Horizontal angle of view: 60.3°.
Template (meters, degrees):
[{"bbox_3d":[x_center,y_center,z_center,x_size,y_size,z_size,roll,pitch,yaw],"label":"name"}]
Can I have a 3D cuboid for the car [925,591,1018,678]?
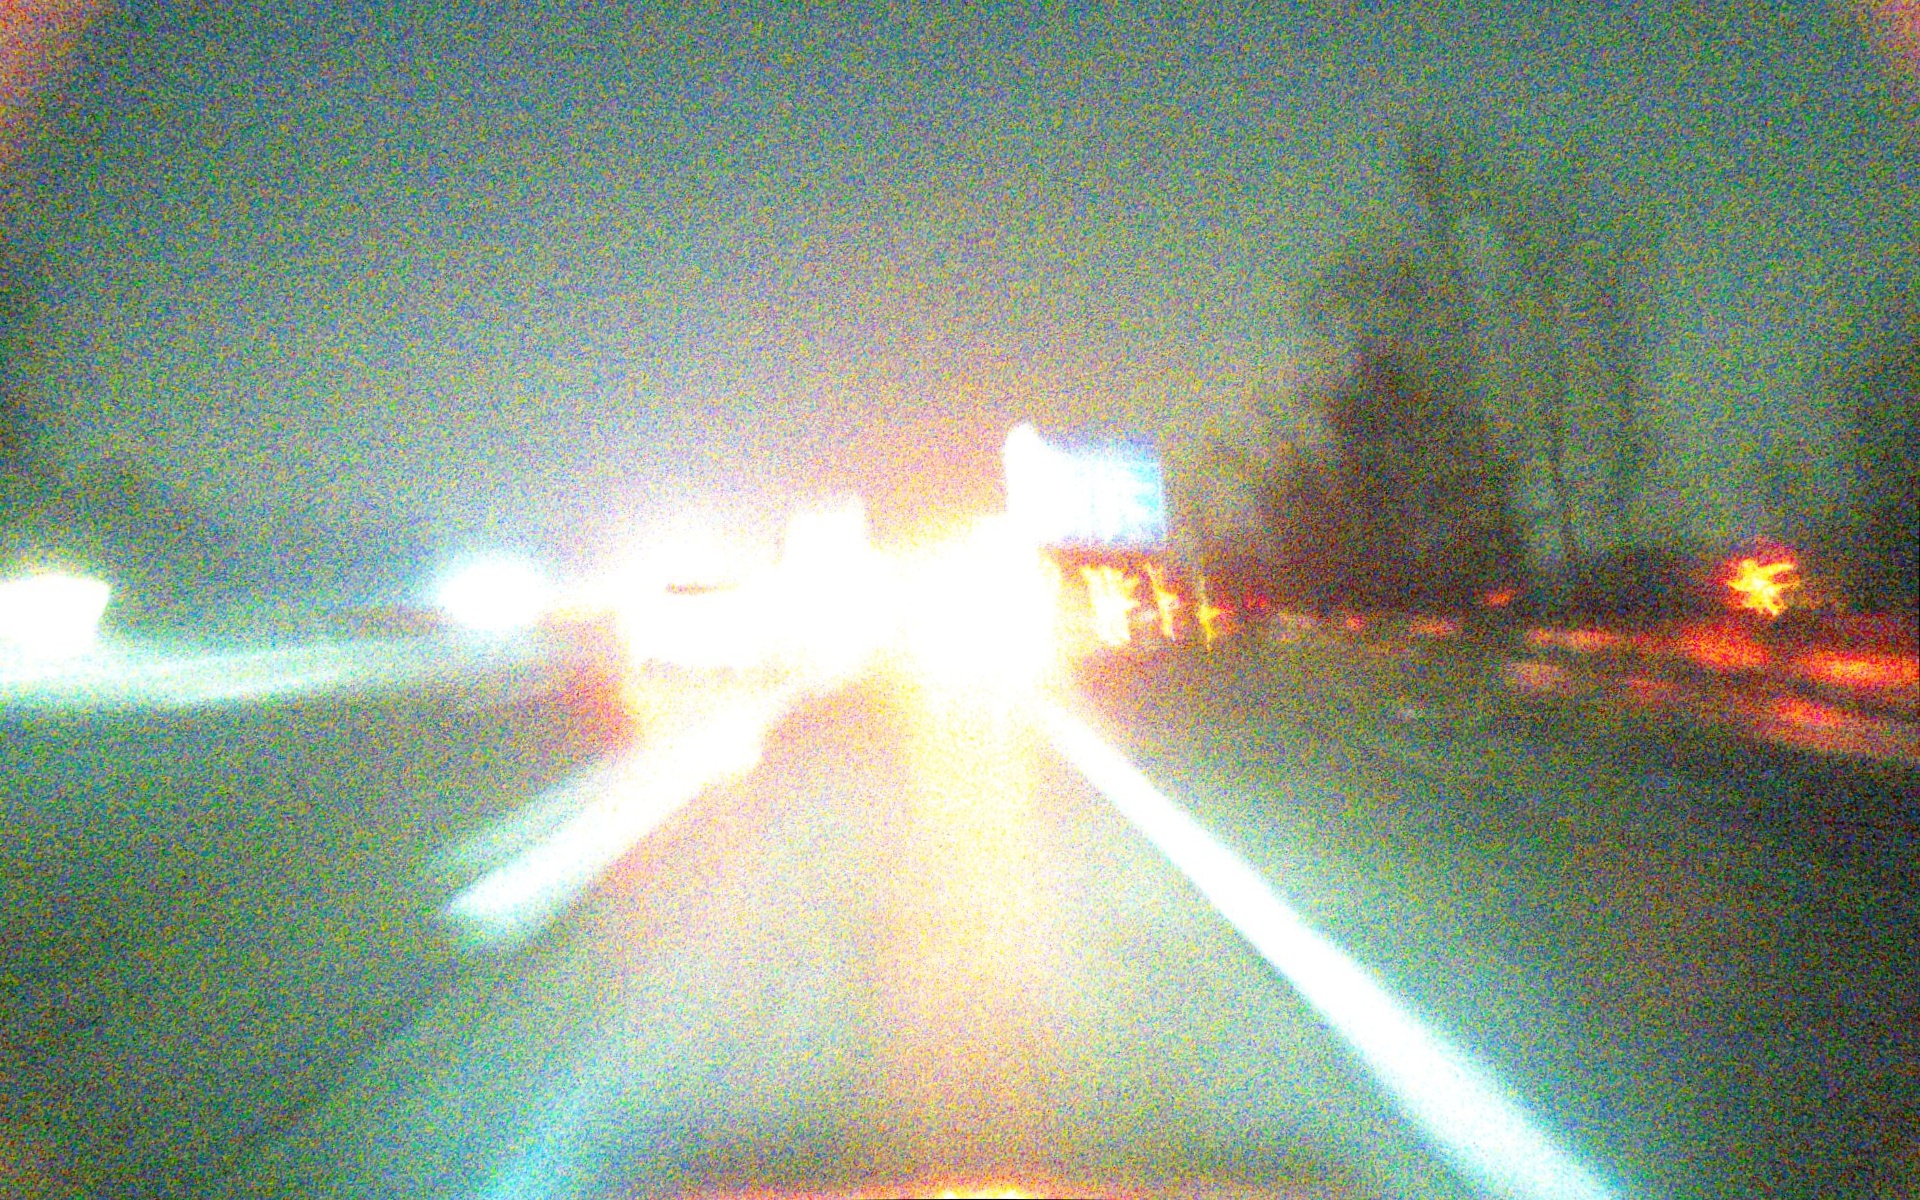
[{"bbox_3d":[0.208,0.748,37.712,1.953,1.839,3.999,1,0,-1],"label":"car"}]

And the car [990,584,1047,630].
[{"bbox_3d":[2.458,0.287,70.247,1.954,1.839,3.997,1,0,-4],"label":"car"}]

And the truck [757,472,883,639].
[{"bbox_3d":[-5.156,-1.567,63.570,4.125,5.747,11.463,1,0,-2],"label":"truck"}]

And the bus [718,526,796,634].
[{"bbox_3d":[-9.292,-0.882,76.734,3.036,4.587,10.902,1,0,-5],"label":"bus"}]

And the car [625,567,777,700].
[{"bbox_3d":[-4.317,0.532,28.299,2.084,2.049,4.642,1,0,-4],"label":"car"}]
